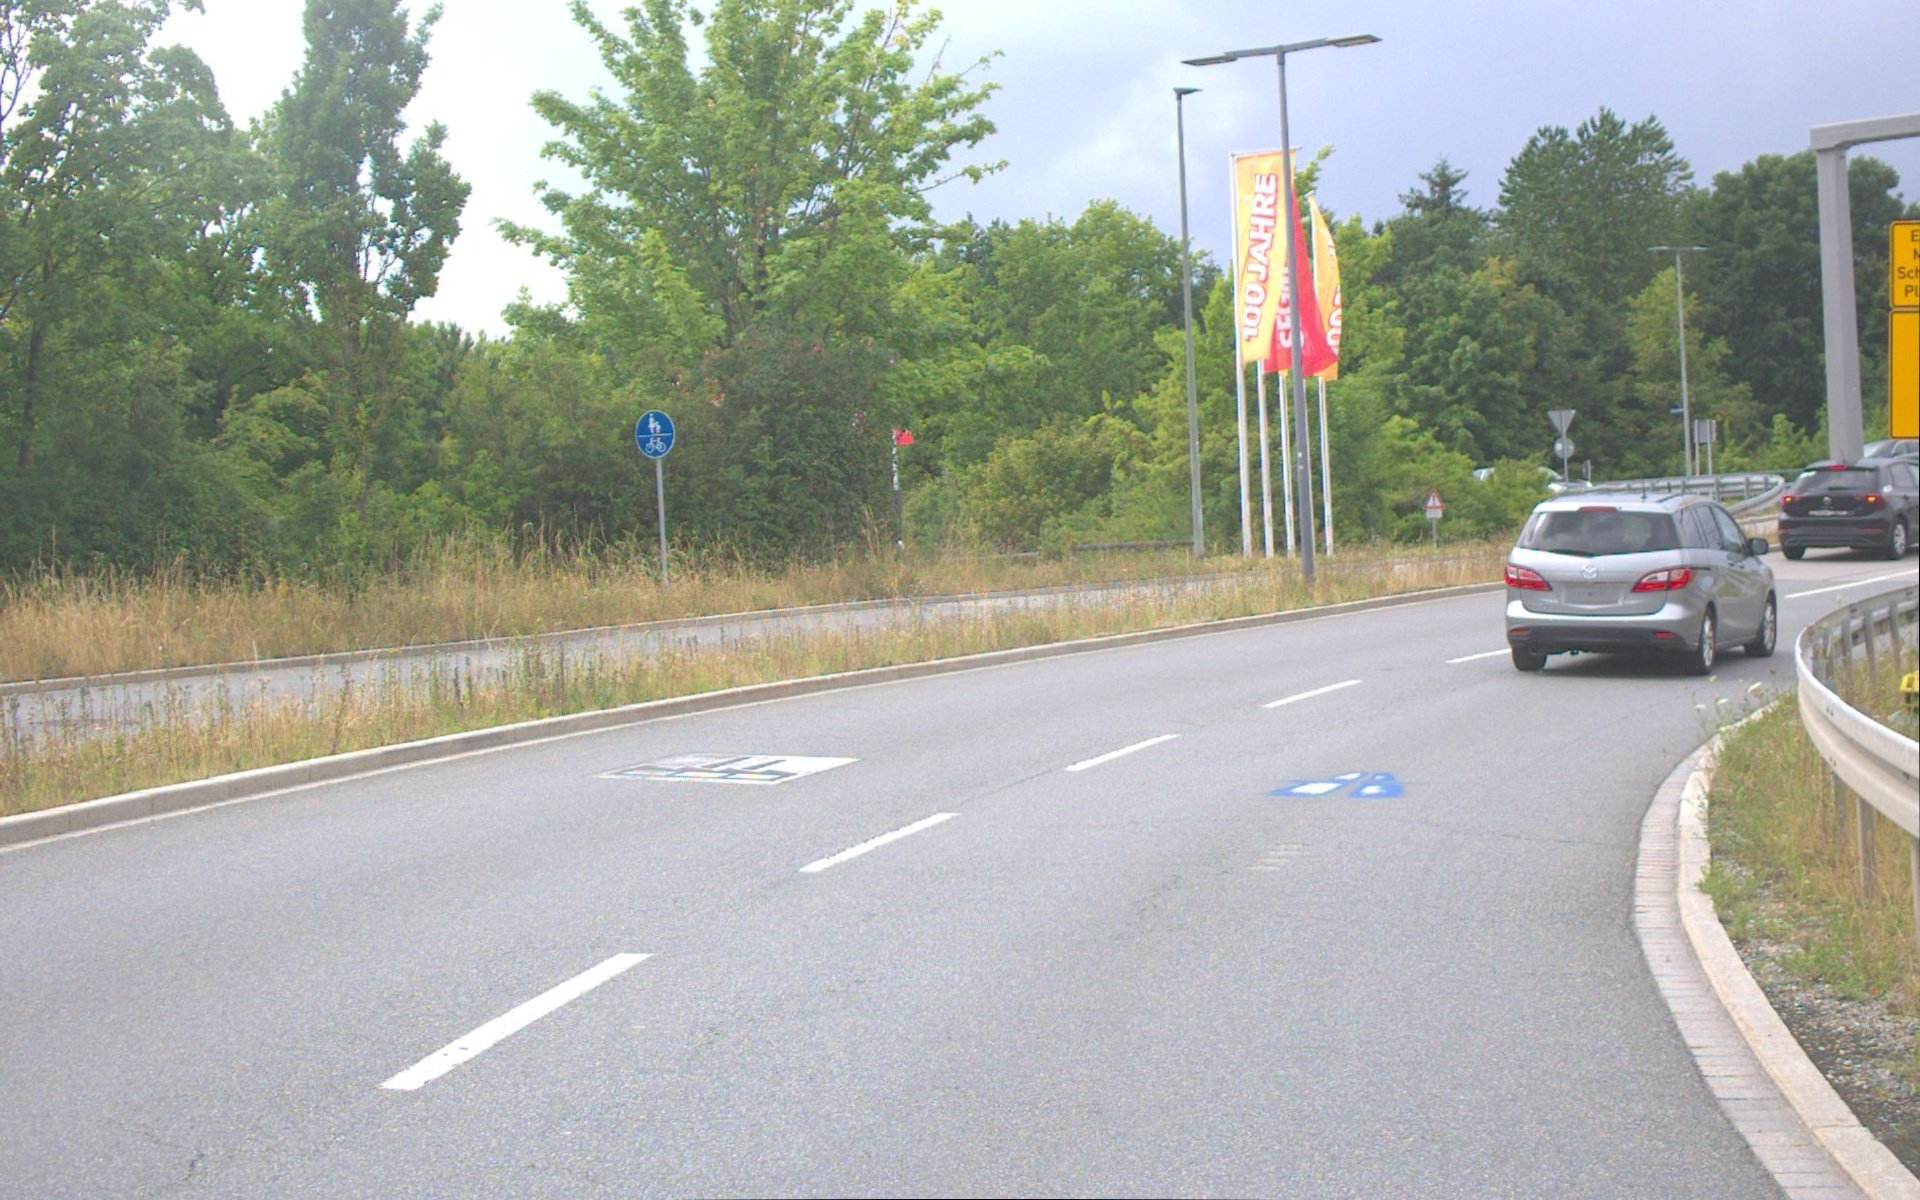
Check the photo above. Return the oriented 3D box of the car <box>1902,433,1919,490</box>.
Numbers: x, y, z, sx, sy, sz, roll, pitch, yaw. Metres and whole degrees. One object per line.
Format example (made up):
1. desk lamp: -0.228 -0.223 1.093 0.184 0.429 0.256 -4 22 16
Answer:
1. car: 30.671 -4.377 103.755 4.150 1.659 1.860 -7 2 -31

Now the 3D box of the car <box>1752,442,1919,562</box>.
1. car: 13.024 -1.439 49.753 1.872 1.599 3.728 -2 1 32

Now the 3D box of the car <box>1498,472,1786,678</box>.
1. car: 6.298 -0.292 31.456 1.769 1.611 3.917 2 4 23
